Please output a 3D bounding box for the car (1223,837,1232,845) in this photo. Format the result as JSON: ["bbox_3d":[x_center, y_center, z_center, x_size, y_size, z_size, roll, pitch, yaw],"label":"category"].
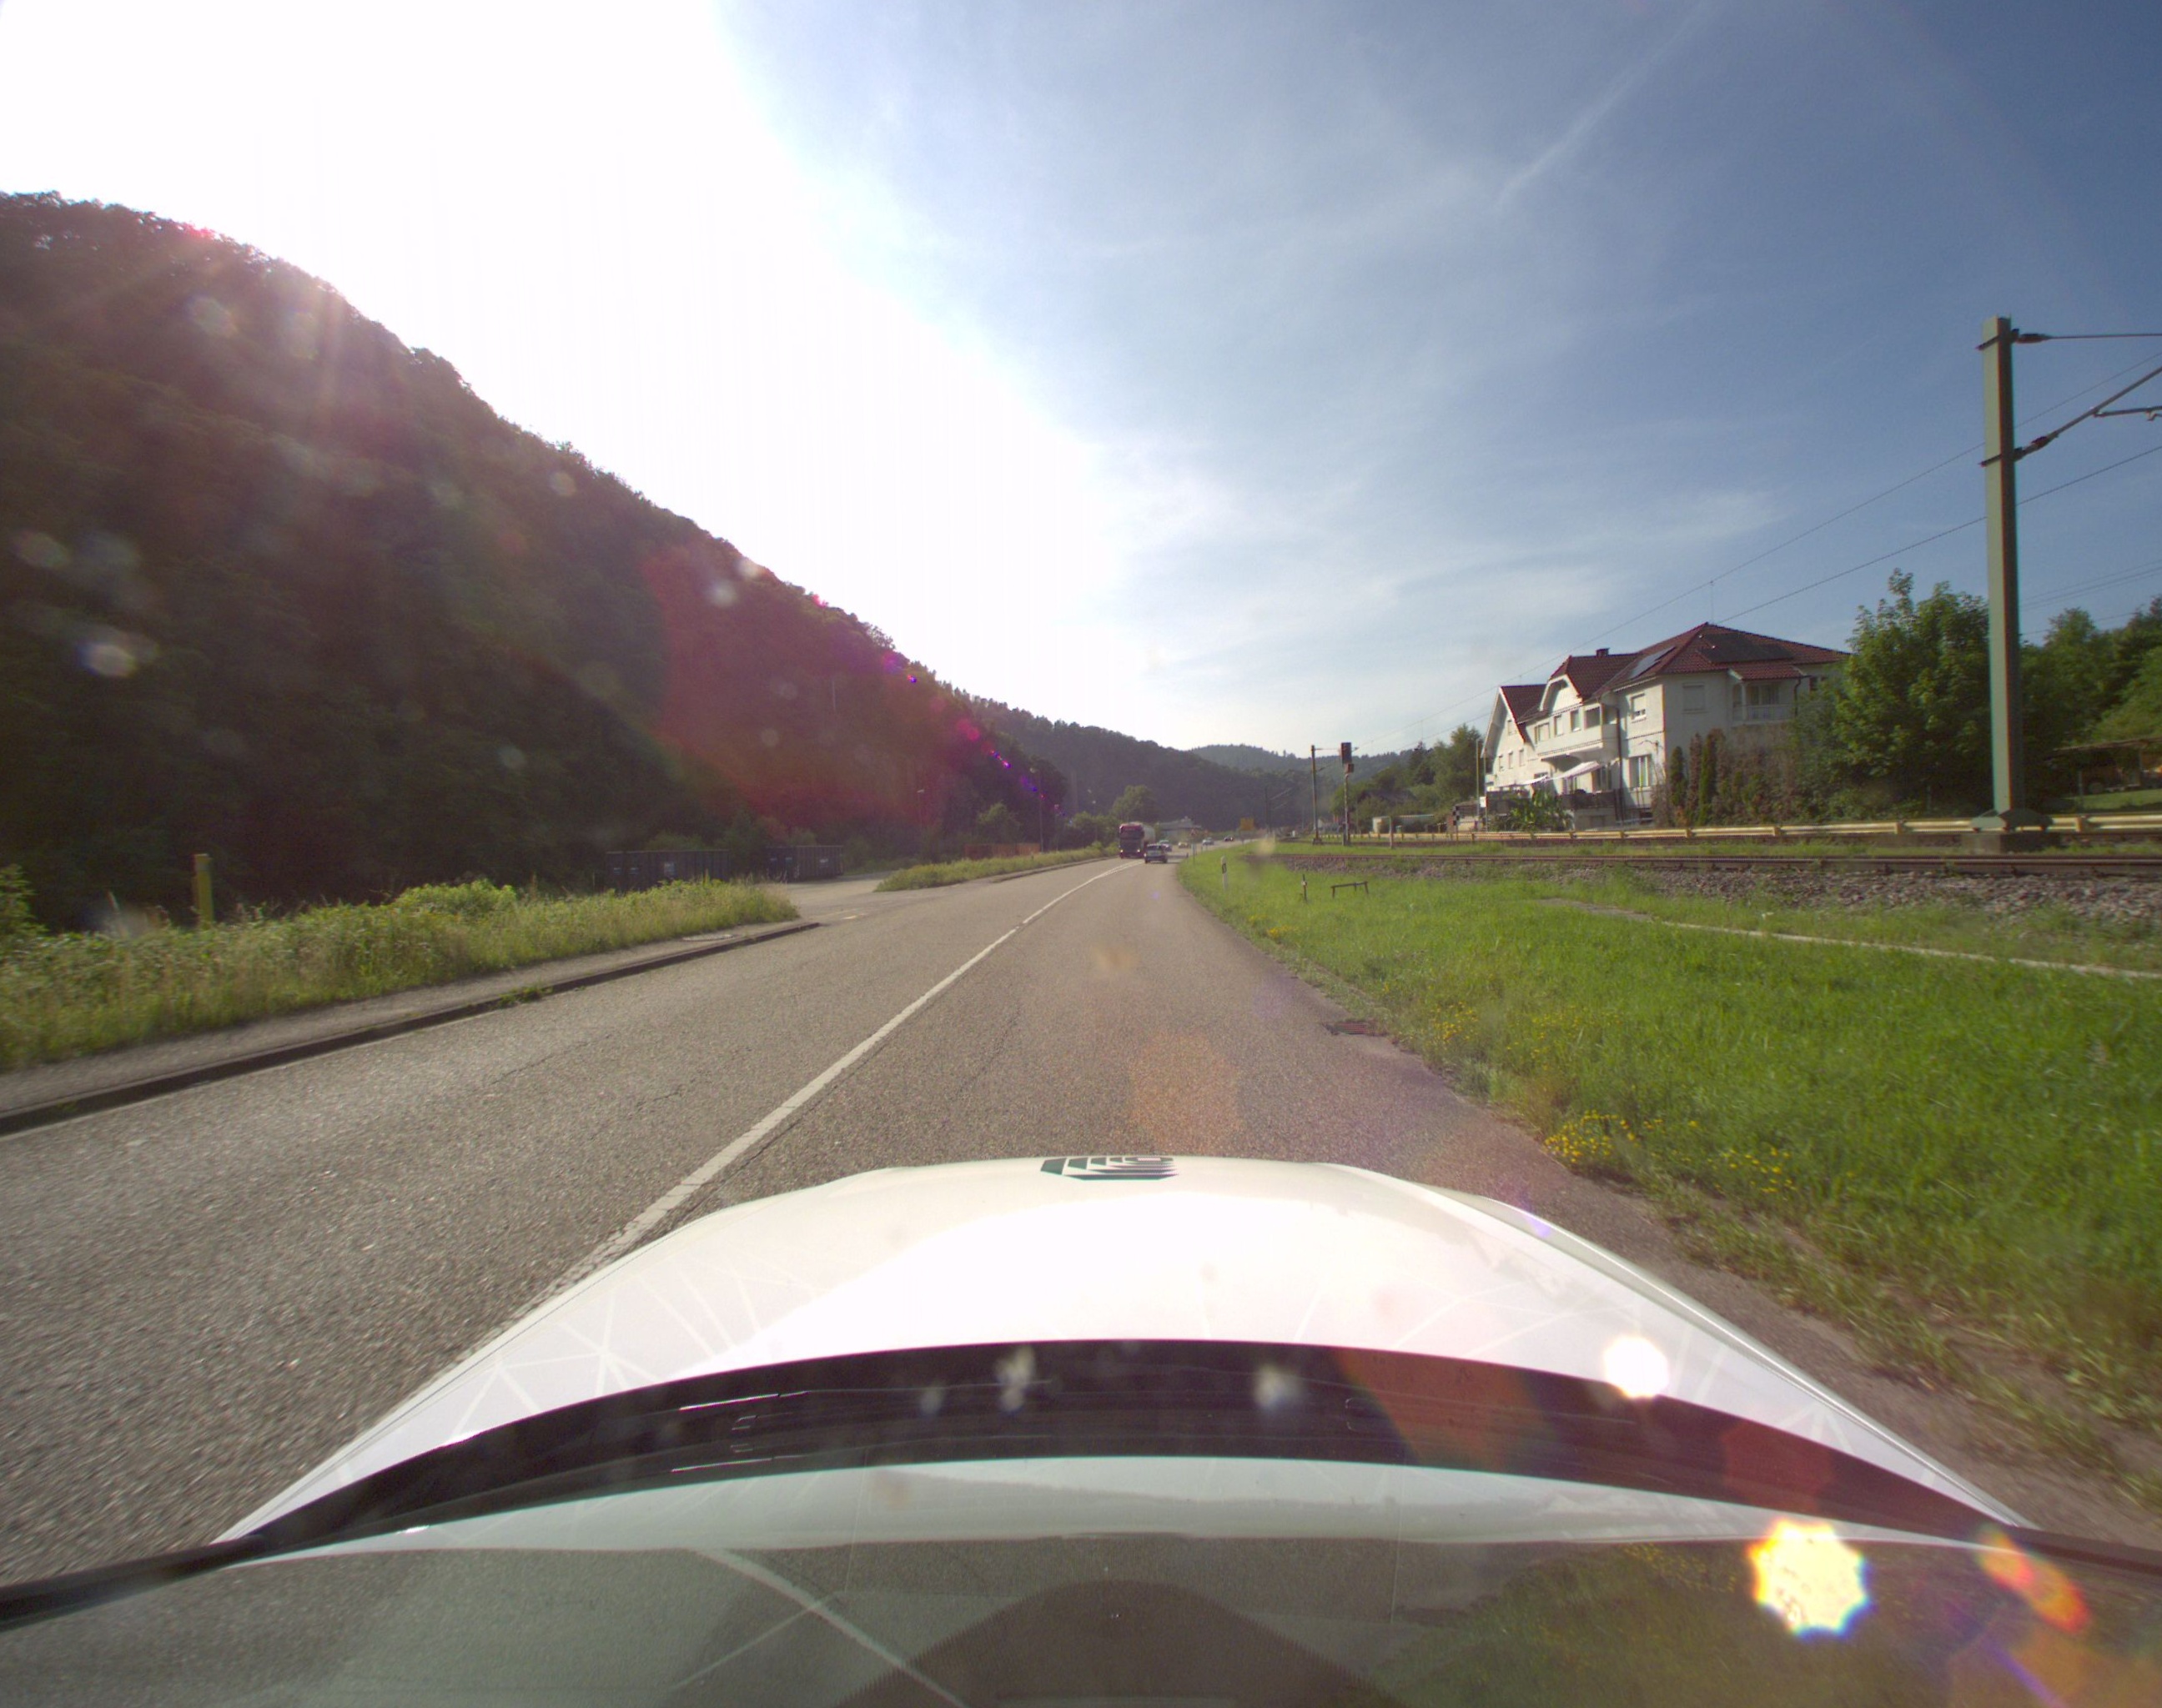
[{"bbox_3d":[34.389,-3.062,190.929,1.835,1.584,4.331,0,2,12],"label":"car"}]

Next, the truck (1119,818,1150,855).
[{"bbox_3d":[5.984,-1.875,89.702,2.734,3.835,8.218,-1,1,8],"label":"truck"}]

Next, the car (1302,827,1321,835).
[{"bbox_3d":[68.979,-6.968,244.191,5.243,2.013,2.007,-4,0,12],"label":"car"}]

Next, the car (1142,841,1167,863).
[{"bbox_3d":[6.379,-0.164,70.654,1.984,1.723,3.996,-4,0,5],"label":"car"}]

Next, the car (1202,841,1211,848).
[{"bbox_3d":[25.587,-2.033,165.786,1.767,1.348,4.524,0,1,10],"label":"car"}]

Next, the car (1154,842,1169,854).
[{"bbox_3d":[11.900,-0.953,120.666,1.982,1.758,4.480,0,1,8],"label":"car"}]

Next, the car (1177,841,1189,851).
[{"bbox_3d":[17.693,-1.461,140.750,1.712,1.624,3.808,-1,1,11],"label":"car"}]

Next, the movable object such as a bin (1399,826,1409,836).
[{"bbox_3d":[34.241,-2.480,86.333,0.802,1.050,0.915,0,1,12],"label":"movable object such as a bin"}]

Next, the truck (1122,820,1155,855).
[{"bbox_3d":[6.962,-1.914,96.136,2.734,3.835,14.597,-1,1,8],"label":"truck"}]
